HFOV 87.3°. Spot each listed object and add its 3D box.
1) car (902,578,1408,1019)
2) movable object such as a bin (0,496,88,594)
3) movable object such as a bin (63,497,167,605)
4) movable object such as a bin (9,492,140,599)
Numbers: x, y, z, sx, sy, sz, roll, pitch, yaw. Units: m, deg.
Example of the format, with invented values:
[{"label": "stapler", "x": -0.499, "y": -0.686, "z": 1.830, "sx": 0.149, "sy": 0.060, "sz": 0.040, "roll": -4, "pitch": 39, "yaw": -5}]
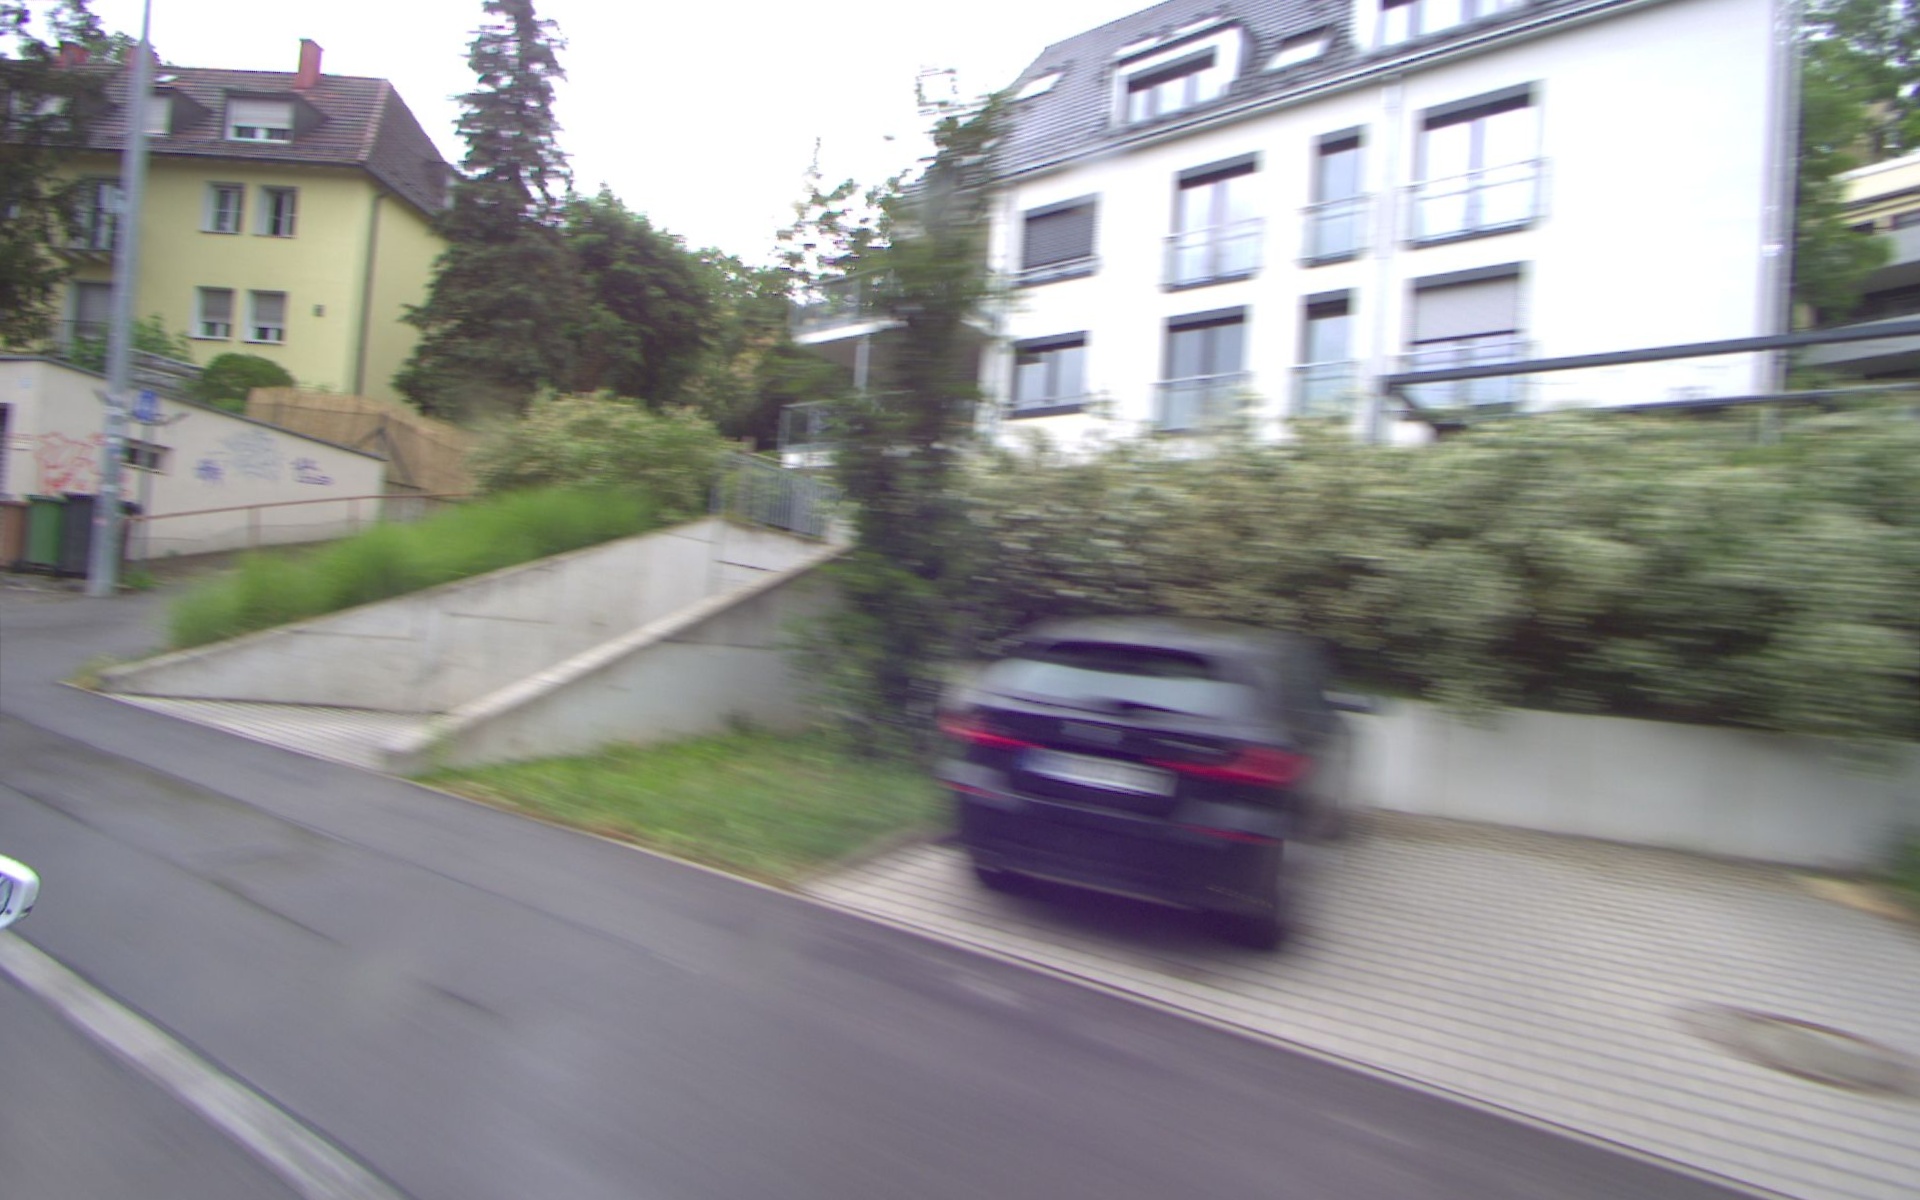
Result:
[{"label": "car", "x": 1.512, "y": 0.780, "z": 5.984, "sx": 1.710, "sy": 1.528, "sz": 4.173, "roll": 6, "pitch": 2, "yaw": 28}, {"label": "movable object such as a bin", "x": -11.887, "y": -0.707, "z": 12.770, "sx": 0.784, "sy": 1.156, "sz": 0.862, "roll": 7, "pitch": 1, "yaw": 9}, {"label": "movable object such as a bin", "x": -10.465, "y": -0.589, "z": 12.472, "sx": 0.570, "sy": 1.239, "sz": 0.704, "roll": 7, "pitch": 1, "yaw": 9}, {"label": "movable object such as a bin", "x": -11.114, "y": -0.660, "z": 12.649, "sx": 0.772, "sy": 1.200, "sz": 0.862, "roll": 7, "pitch": 1, "yaw": 9}]
